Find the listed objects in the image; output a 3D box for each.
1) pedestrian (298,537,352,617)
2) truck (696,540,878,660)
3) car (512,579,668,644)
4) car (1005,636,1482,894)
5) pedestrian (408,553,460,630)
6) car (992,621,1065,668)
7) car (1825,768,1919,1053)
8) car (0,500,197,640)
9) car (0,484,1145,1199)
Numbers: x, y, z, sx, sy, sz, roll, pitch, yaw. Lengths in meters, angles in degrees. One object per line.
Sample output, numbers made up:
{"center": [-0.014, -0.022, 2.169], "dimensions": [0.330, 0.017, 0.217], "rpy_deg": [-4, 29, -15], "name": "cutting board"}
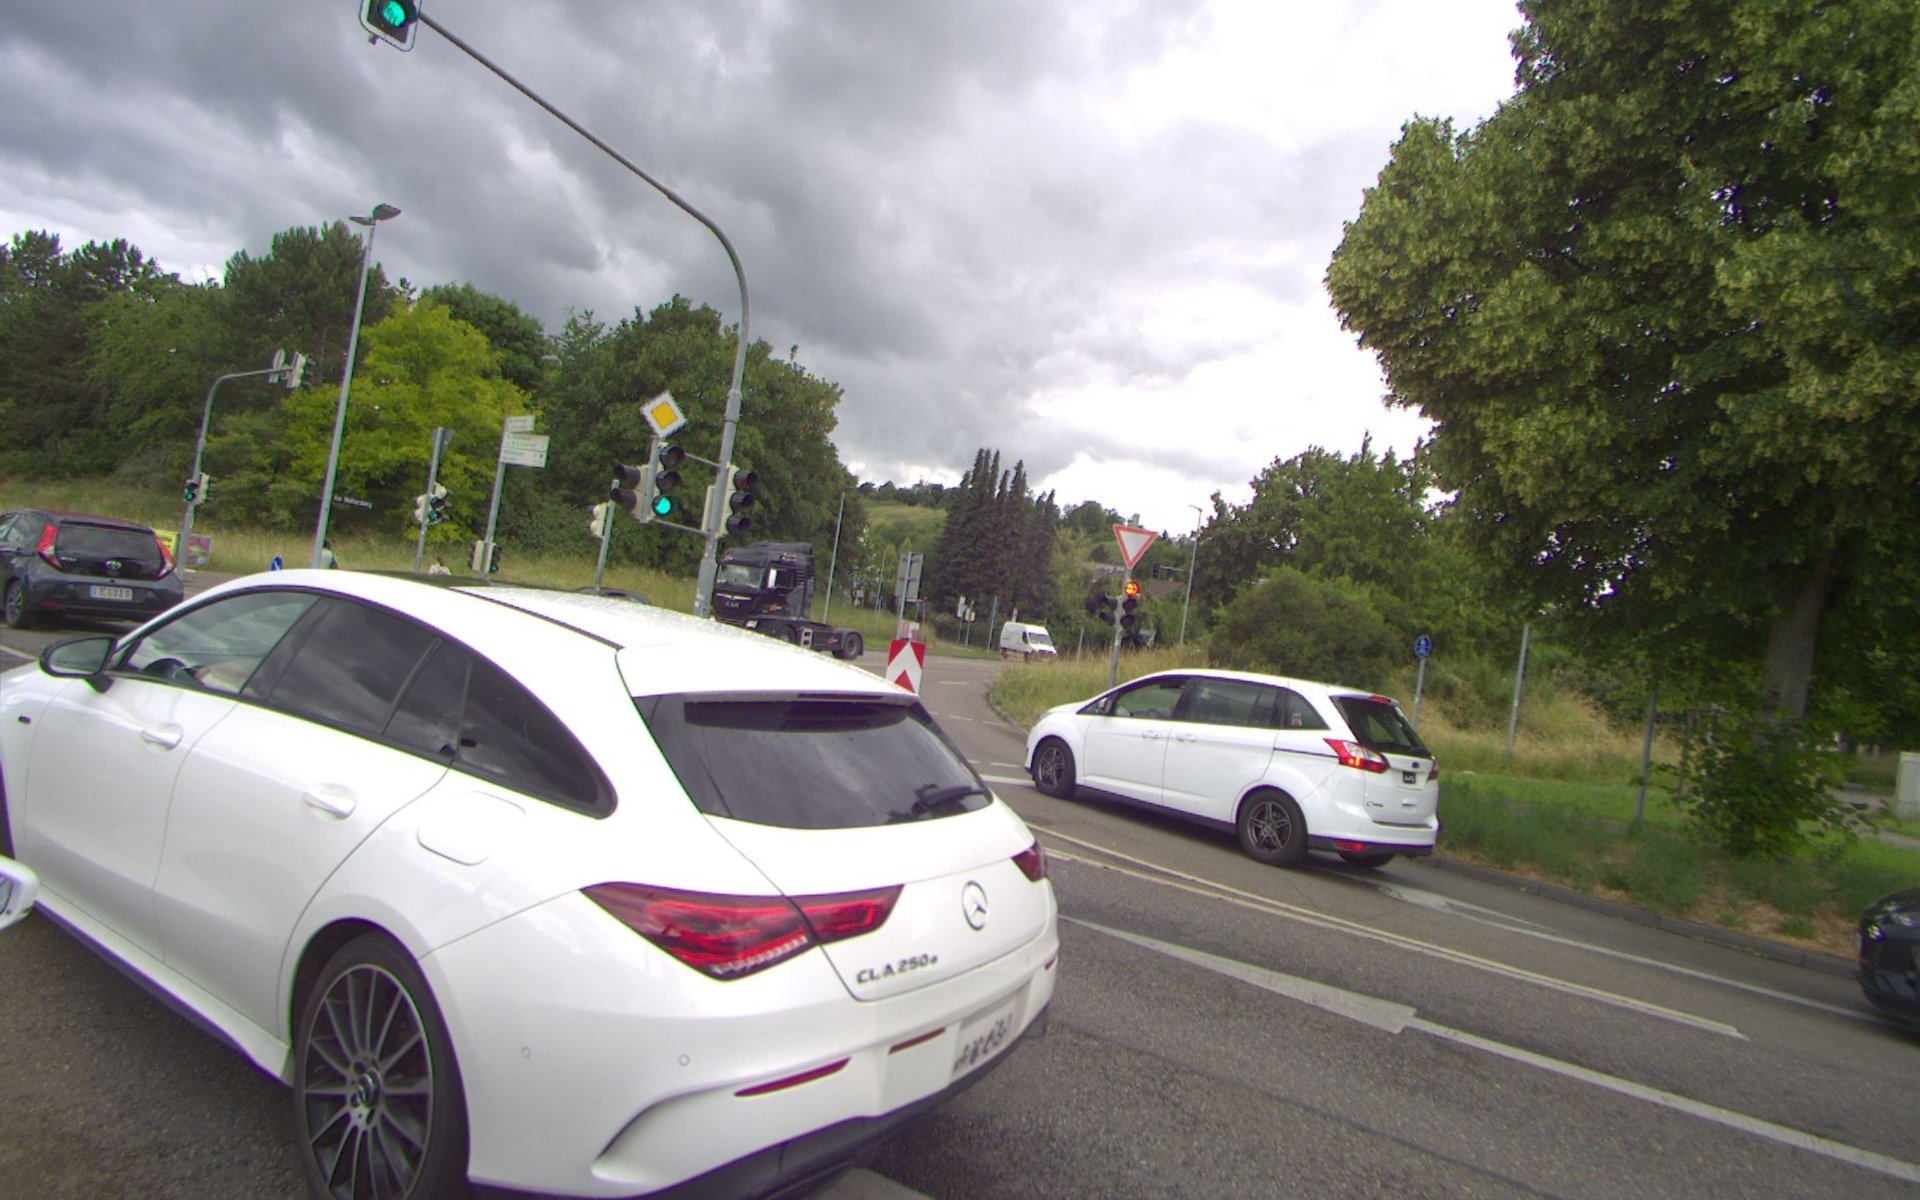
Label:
{"center": [-14.300, -0.522, 22.656], "dimensions": [0.703, 1.681, 0.644], "rpy_deg": [6, -1, 39], "name": "pedestrian"}
{"center": [-5.970, 0.100, 35.664], "dimensions": [2.648, 3.527, 6.004], "rpy_deg": [6, -1, 34], "name": "truck"}
{"center": [-10.561, 0.371, 28.966], "dimensions": [1.669, 1.353, 3.882], "rpy_deg": [6, -3, 34], "name": "car"}
{"center": [2.607, 1.495, 10.224], "dimensions": [1.752, 1.673, 4.325], "rpy_deg": [10, -3, -37], "name": "car"}
{"center": [-11.846, -0.192, 22.655], "dimensions": [0.703, 1.630, 0.644], "rpy_deg": [6, -1, 37], "name": "pedestrian"}
{"center": [4.693, 3.028, 69.899], "dimensions": [1.978, 2.661, 5.785], "rpy_deg": [8, -2, -28], "name": "car"}
{"center": [7.110, 1.993, 5.407], "dimensions": [3.511, 1.524, 1.603], "rpy_deg": [6, -2, 38], "name": "car"}
{"center": [-11.903, -0.467, 13.225], "dimensions": [3.817, 1.470, 1.616], "rpy_deg": [6, -2, 32], "name": "car"}
{"center": [-1.849, 0.562, 3.617], "dimensions": [4.456, 1.523, 1.847], "rpy_deg": [6, -2, 32], "name": "car"}
